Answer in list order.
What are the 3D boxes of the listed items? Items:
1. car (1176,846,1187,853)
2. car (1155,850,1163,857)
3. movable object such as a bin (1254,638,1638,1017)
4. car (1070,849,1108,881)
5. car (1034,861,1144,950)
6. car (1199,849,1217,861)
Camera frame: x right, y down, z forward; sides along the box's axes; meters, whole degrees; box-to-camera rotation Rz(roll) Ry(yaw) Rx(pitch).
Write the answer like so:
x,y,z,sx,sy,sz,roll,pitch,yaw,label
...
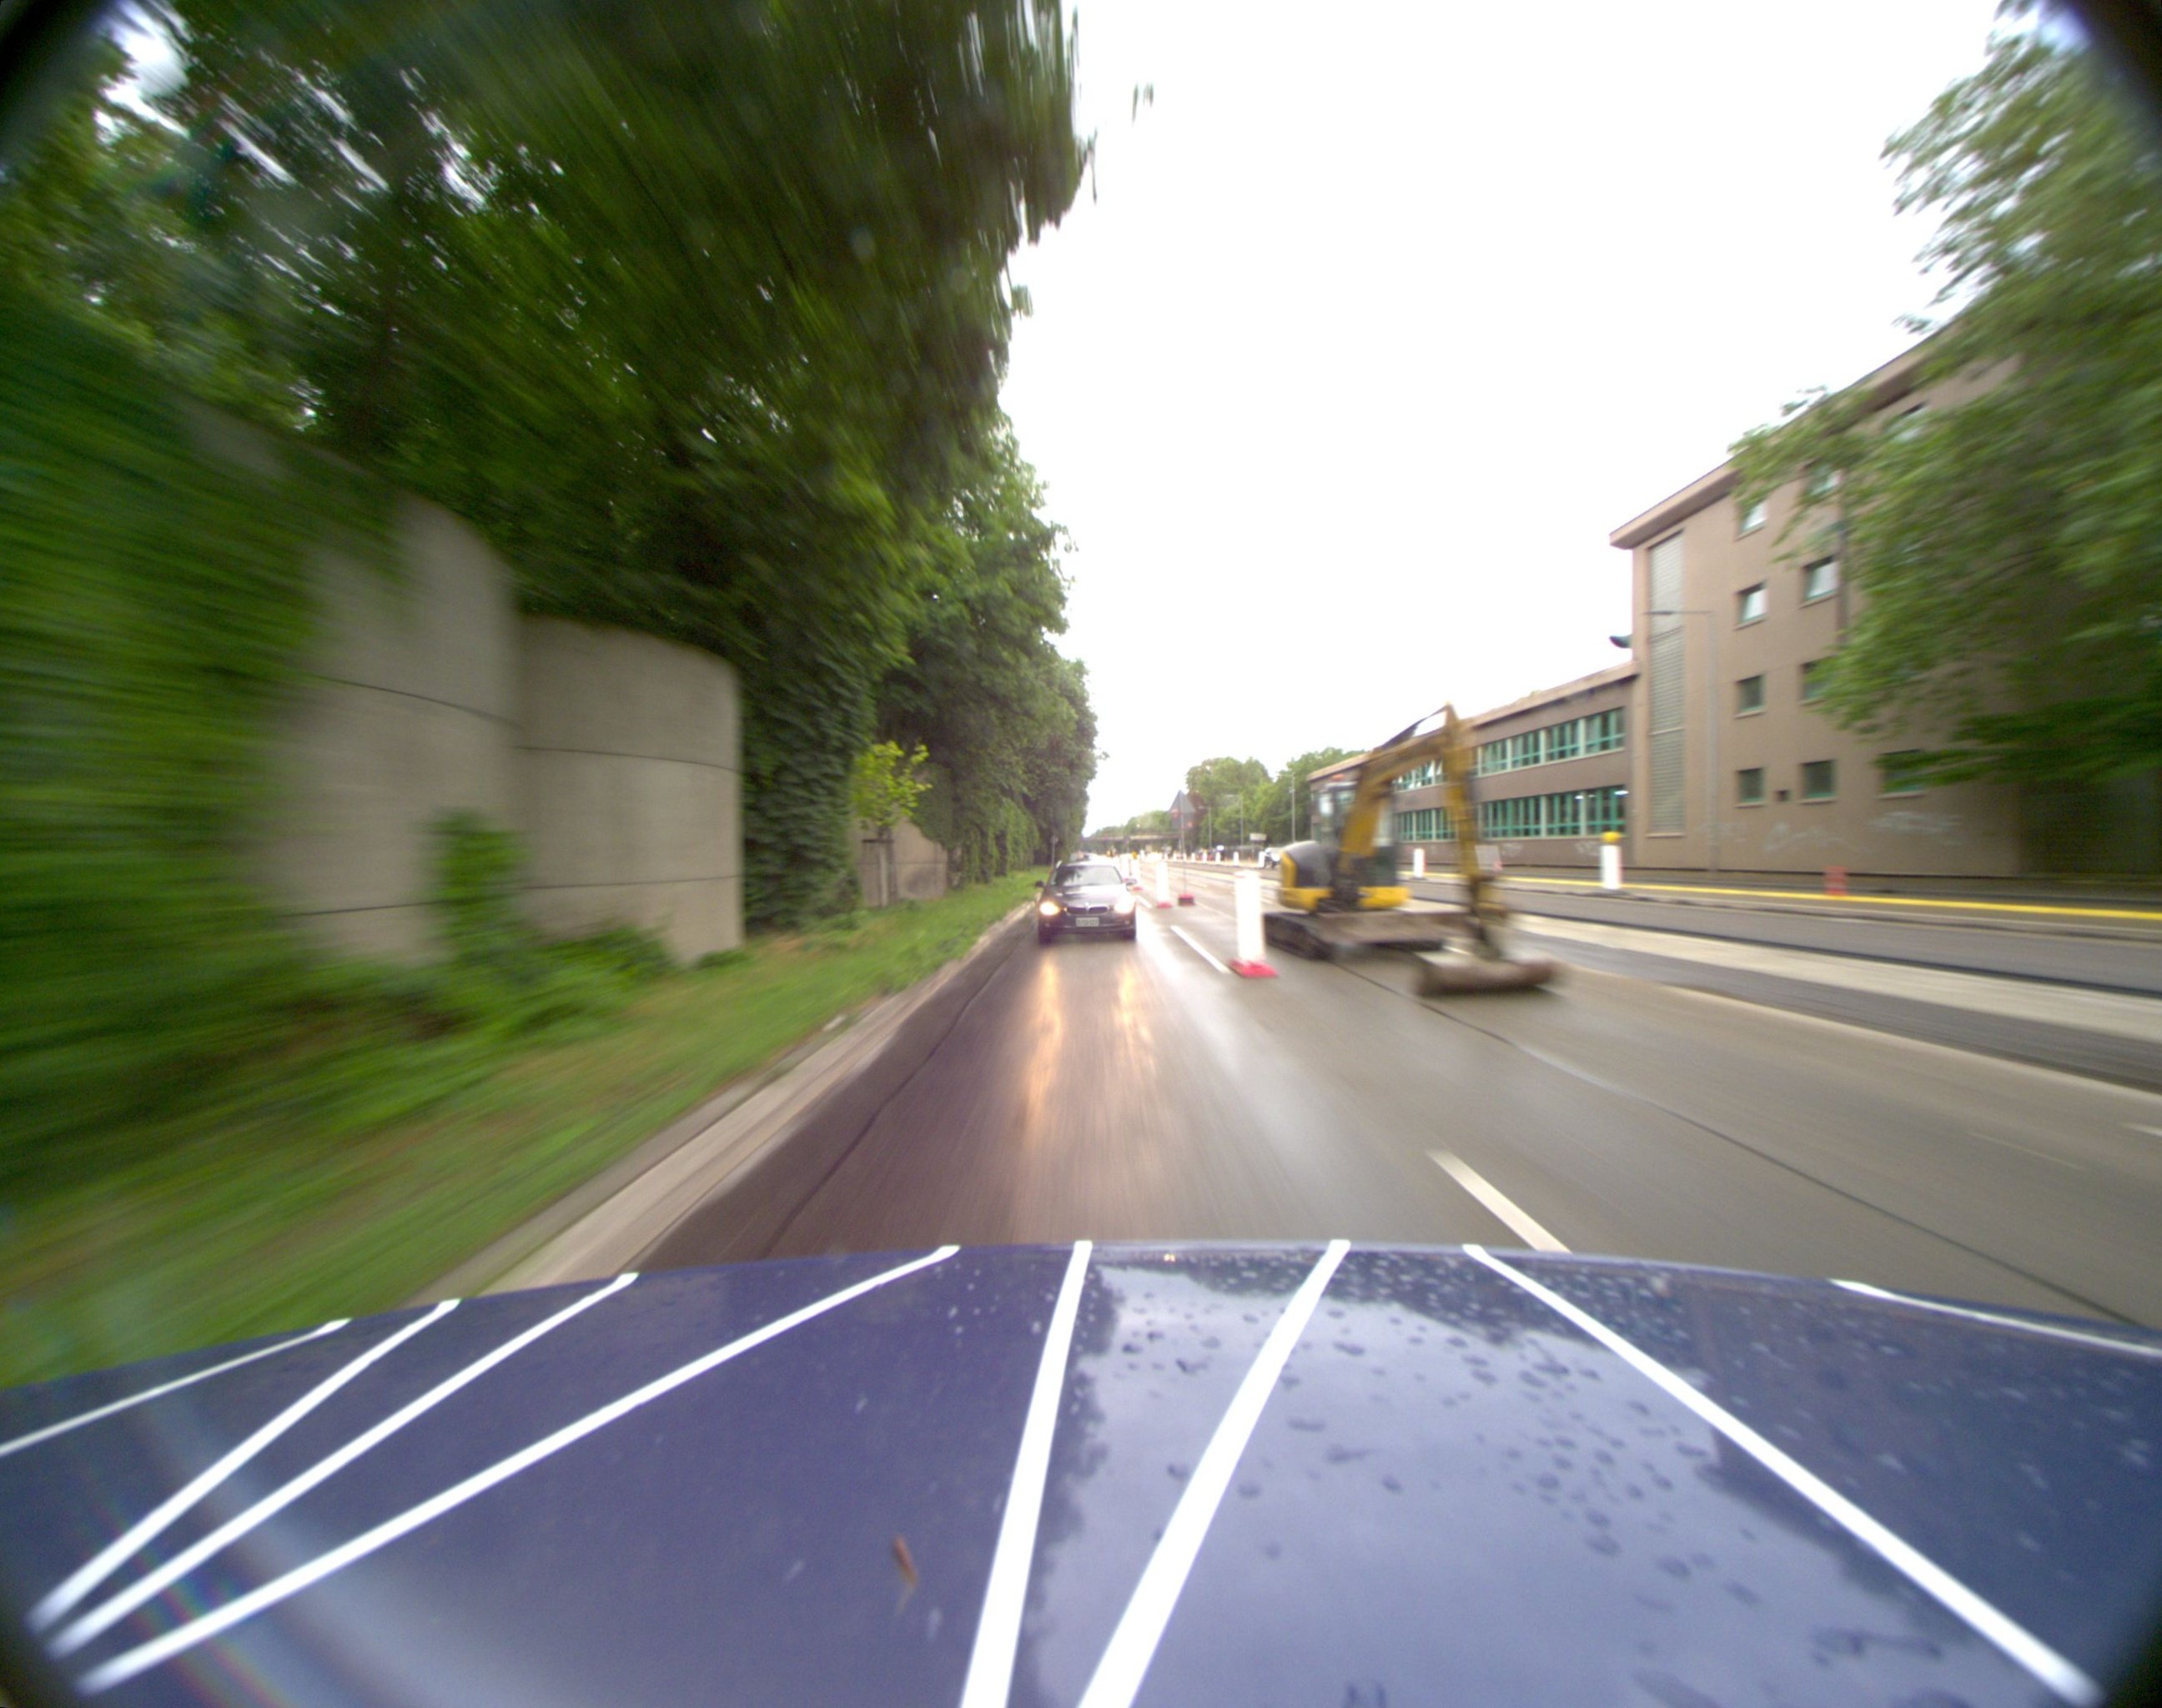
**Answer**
x,y,z,sx,sy,sz,roll,pitch,yaw,label
23.984,-1.013,182.006,1.998,1.577,4.179,-2,0,1,car
22.147,-0.187,215.640,1.993,1.758,4.675,-2,0,2,car
3.984,-0.250,9.842,1.999,3.348,5.981,-2,1,0,movable object such as a bin
0.460,0.562,43.250,1.998,1.650,4.229,-2,0,1,car
0.114,0.896,14.979,1.838,1.397,3.999,-2,0,-1,car
20.504,0.157,122.746,1.998,1.770,4.954,-2,0,1,car
